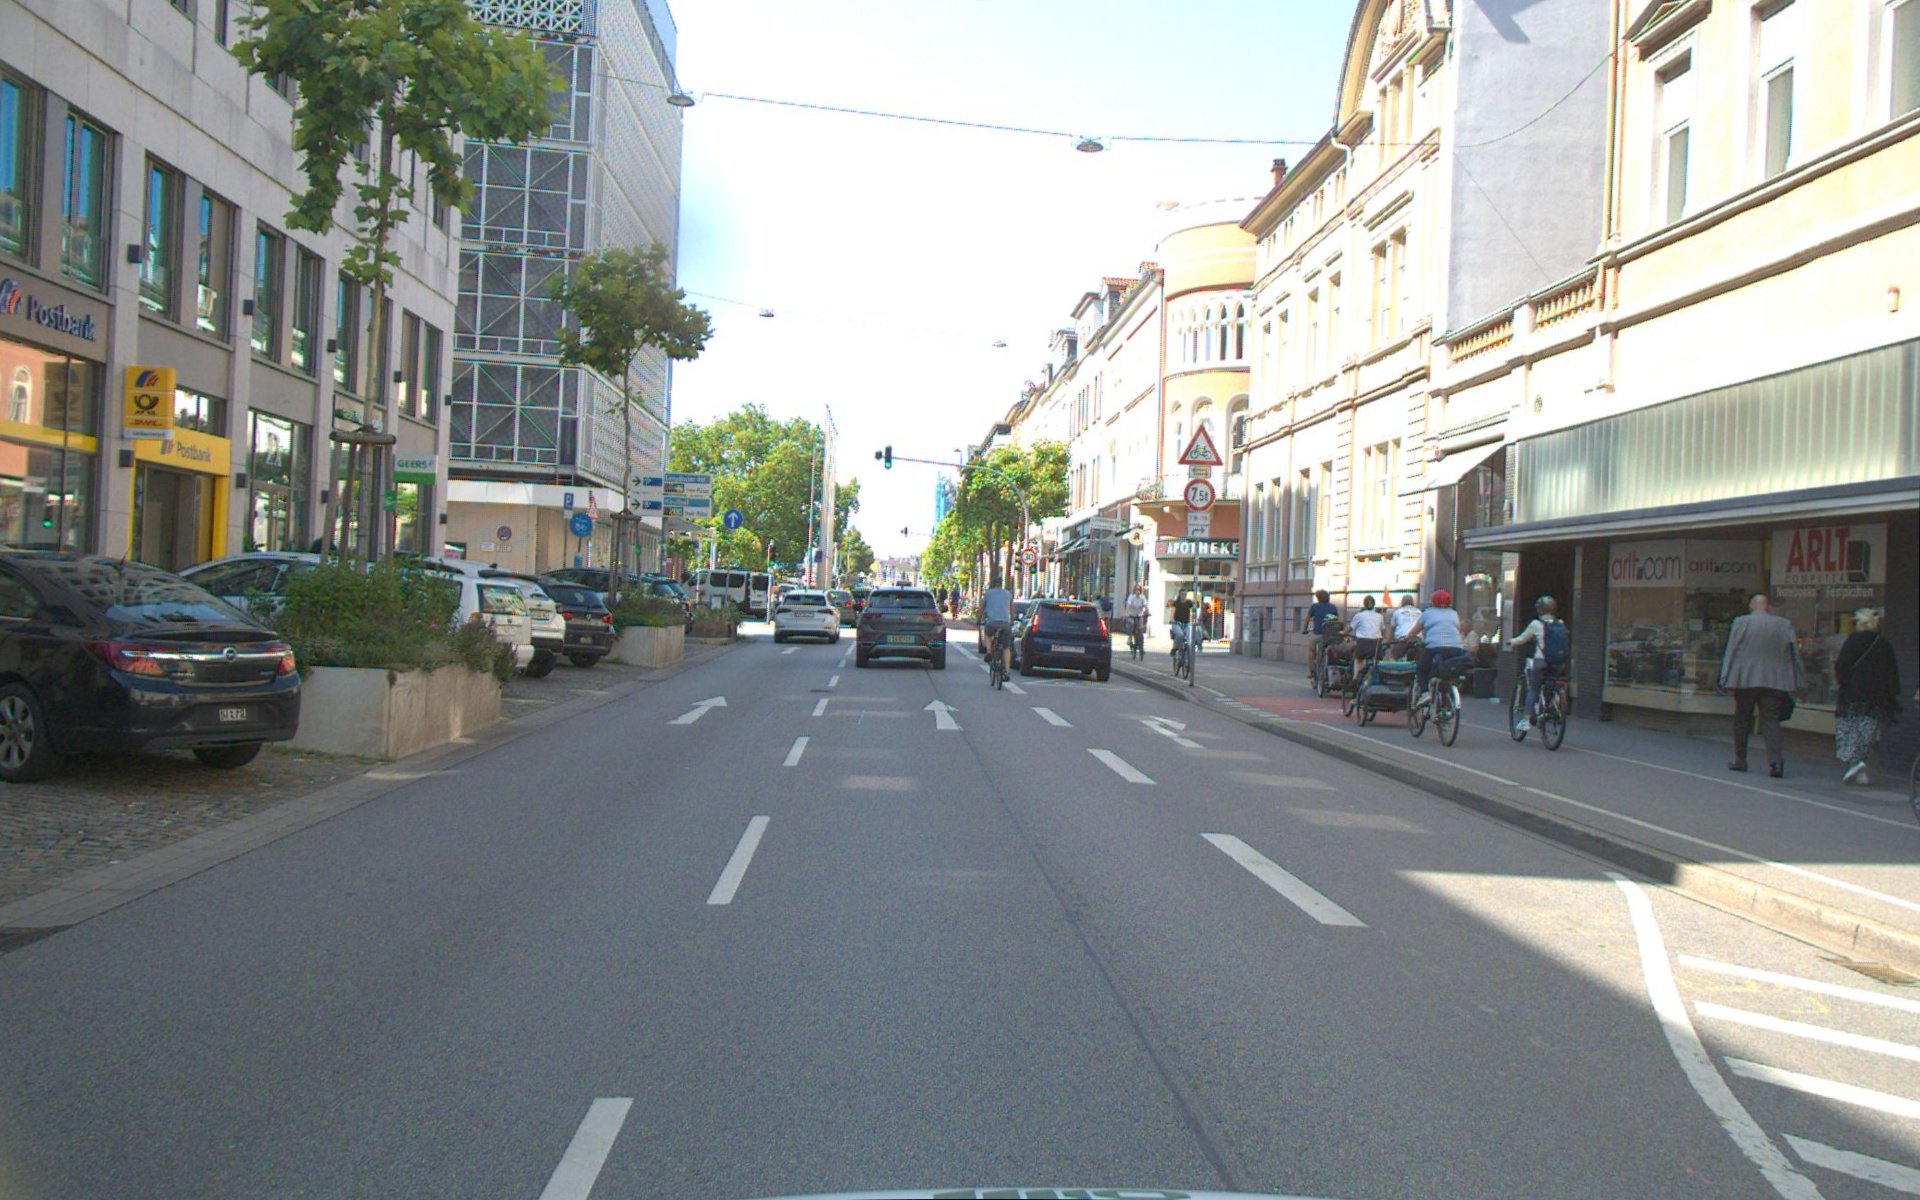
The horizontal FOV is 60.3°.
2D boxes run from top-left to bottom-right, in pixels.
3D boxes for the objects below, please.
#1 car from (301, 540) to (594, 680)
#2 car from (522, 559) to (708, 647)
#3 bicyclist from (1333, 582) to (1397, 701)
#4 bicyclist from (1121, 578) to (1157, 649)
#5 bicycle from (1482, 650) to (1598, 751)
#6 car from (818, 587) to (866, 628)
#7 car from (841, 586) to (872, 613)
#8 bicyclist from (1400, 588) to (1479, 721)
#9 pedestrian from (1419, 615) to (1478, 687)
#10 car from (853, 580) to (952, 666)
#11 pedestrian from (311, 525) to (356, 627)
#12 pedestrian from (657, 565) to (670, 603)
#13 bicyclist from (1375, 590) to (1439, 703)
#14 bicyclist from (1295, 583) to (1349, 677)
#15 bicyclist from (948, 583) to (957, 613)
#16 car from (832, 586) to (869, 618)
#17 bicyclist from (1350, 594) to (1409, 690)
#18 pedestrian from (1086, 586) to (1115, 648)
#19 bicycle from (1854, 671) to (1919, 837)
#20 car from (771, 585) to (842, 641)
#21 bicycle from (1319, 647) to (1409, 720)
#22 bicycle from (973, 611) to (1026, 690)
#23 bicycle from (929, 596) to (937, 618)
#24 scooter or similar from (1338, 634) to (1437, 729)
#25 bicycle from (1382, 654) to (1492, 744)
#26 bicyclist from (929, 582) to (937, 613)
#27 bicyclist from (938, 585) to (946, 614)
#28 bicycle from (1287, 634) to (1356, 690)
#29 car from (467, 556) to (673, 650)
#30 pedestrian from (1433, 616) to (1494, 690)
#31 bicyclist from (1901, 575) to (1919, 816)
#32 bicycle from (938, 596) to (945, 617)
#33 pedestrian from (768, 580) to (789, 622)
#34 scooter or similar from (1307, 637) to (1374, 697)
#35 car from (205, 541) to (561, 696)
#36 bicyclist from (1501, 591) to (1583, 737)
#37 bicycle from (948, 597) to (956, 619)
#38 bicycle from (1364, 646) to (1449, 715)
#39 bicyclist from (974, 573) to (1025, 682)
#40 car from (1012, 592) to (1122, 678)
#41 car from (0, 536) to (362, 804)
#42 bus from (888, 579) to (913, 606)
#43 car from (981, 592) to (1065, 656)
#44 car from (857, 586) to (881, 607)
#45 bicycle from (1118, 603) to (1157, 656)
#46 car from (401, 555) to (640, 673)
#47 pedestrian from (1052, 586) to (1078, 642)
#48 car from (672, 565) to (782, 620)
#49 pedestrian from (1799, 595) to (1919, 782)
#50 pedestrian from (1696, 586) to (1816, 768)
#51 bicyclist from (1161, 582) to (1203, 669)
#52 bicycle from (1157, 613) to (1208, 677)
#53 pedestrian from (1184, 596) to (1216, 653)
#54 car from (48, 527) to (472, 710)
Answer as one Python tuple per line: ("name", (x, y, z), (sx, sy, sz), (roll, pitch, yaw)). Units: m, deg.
("car", (-7.717, 0.154, 24.931), (3.909, 1.595, 1.699), (7, 0, 22))
("car", (-8.007, 0.064, 38.680), (3.911, 1.571, 1.716), (6, 0, -5))
("bicyclist", (5.689, 0.576, 23.245), (0.619, 1.623, 0.920), (2, -1, -1))
("bicyclist", (4.482, 0.323, 41.416), (0.680, 1.702, 0.835), (4, 1, -2))
("bicycle", (6.693, 1.139, 19.200), (0.552, 1.013, 2.102), (2, 0, -1))
("car", (-4.450, 0.254, 62.686), (1.708, 1.466, 3.998), (2, 0, -3))
("car", (-6.054, -0.043, 97.013), (1.708, 1.466, 3.998), (2, 0, -3))
("bicyclist", (5.570, 0.617, 19.244), (0.612, 1.502, 0.889), (2, 0, -1))
("pedestrian", (8.857, 0.920, 29.981), (0.916, 1.291, 0.568), (0, 0, 3))
("car", (-1.168, 0.456, 33.075), (1.796, 1.554, 3.998), (2, -1, -3))
("pedestrian", (-12.828, -0.483, 33.859), (0.611, 2.049, 0.700), (2, 0, -2))
("pedestrian", (-16.316, -0.891, 91.026), (0.612, 2.049, 0.571), (2, 0, -9))
("bicyclist", (6.611, 0.675, 24.499), (0.644, 1.623, 0.920), (2, 0, -1))
("bicyclist", (6.457, 0.527, 29.552), (0.695, 1.623, 0.963), (2, 0, -1))
("bicyclist", (-0.416, -0.115, 90.623), (0.411, 1.658, 0.709), (2, 0, -1))
("car", (-5.343, 0.094, 80.900), (1.708, 1.466, 3.998), (2, 0, -3))
("bicyclist", (5.699, 0.559, 22.499), (0.611, 1.270, 0.607), (2, 0, -1))
("pedestrian", (4.296, 0.512, 50.556), (0.641, 1.841, 0.727), (2, 0, -14))
("bicycle", (7.176, 1.129, 11.559), (0.634, 1.139, 2.102), (2, 0, -2))
("car", (-4.307, 0.330, 46.832), (1.826, 1.466, 3.997), (2, 0, -3))
("bicycle", (5.681, 1.154, 23.403), (0.634, 0.895, 2.388), (2, 0, -1))
("bicycle", (0.628, 0.802, 27.096), (0.651, 1.139, 2.242), (4, 1, -2))
("bicycle", (-1.502, 0.379, 91.085), (0.411, 1.155, 1.910), (2, 0, -1))
("scooter or similar", (5.518, 1.035, 21.441), (0.853, 1.141, 1.620), (0, 0, -1))
("bicycle", (5.558, 1.132, 19.401), (0.634, 0.895, 2.102), (2, 0, -1))
("bicyclist", (-1.472, -0.140, 91.251), (0.411, 1.658, 0.709), (2, 0, -1))
("bicyclist", (-1.031, -0.041, 94.300), (0.411, 1.658, 0.668), (2, 0, -1))
("bicycle", (6.427, 1.096, 29.516), (0.725, 0.895, 2.137), (2, 0, -1))
("car", (-8.235, 0.072, 35.234), (3.911, 1.526, 1.716), (6, 0, -5))
("pedestrian", (8.911, 0.932, 29.301), (0.916, 1.291, 0.568), (0, 0, 3))
("bicyclist", (7.167, 0.689, 11.482), (0.634, 1.714, 1.013), (2, 0, -2))
("bicycle", (-1.058, 0.371, 94.302), (0.411, 1.155, 1.910), (2, 0, -1))
("pedestrian", (-7.244, 0.060, 65.835), (0.606, 1.643, 0.544), (3, -2, -33))
("scooter or similar", (6.431, 1.121, 27.987), (0.835, 0.935, 1.164), (2, 0, -1))
("car", (-7.434, 0.231, 21.414), (3.905, 1.515, 1.785), (6, 0, 15))
("bicyclist", (6.702, 0.716, 19.080), (0.570, 1.623, 0.920), (2, 0, -1))
("bicycle", (-0.431, 0.449, 90.508), (0.411, 1.155, 1.910), (2, 0, -1))
("bicycle", (6.586, 1.172, 24.485), (0.634, 0.895, 2.102), (2, 0, -1))
("bicyclist", (0.642, 0.439, 27.150), (0.680, 1.702, 0.915), (4, 1, -2))
("car", (2.077, 0.659, 32.828), (1.786, 1.433, 3.186), (5, 1, -2))
("car", (-6.659, 0.367, 12.102), (4.259, 1.539, 1.830), (5, 0, 28))
("bus", (-8.177, -1.047, 226.841), (2.716, 3.668, 8.963), (2, 0, -6))
("car", (1.514, 0.551, 40.948), (1.785, 1.409, 3.999), (2, 1, -2))
("car", (-6.601, -0.256, 120.117), (1.708, 1.466, 3.998), (2, 0, -3))
("bicycle", (4.424, 0.720, 41.329), (0.544, 1.230, 2.242), (4, 1, -2))
("car", (-7.528, 0.221, 28.213), (3.921, 1.484, 1.664), (7, 0, 34))
("pedestrian", (3.524, 0.466, 55.616), (0.711, 1.841, 0.654), (2, 0, 14))
("car", (-10.153, -0.356, 72.039), (4.633, 2.038, 1.933), (4, -2, 38))
("pedestrian", (8.614, 0.823, 15.812), (0.634, 1.714, 0.944), (2, 0, -2))
("pedestrian", (7.974, 0.771, 16.603), (0.859, 1.748, 0.836), (2, -3, 8))
("bicyclist", (4.451, 0.520, 33.207), (0.680, 1.703, 0.835), (2, -3, -2))
("bicycle", (4.434, 0.880, 33.053), (0.544, 1.139, 2.242), (4, 1, -2))
("pedestrian", (7.477, 0.762, 51.508), (0.776, 1.750, 0.728), (1, 0, -8))
("car", (-7.701, 0.204, 18.533), (3.913, 1.526, 1.715), (6, 0, -7))
